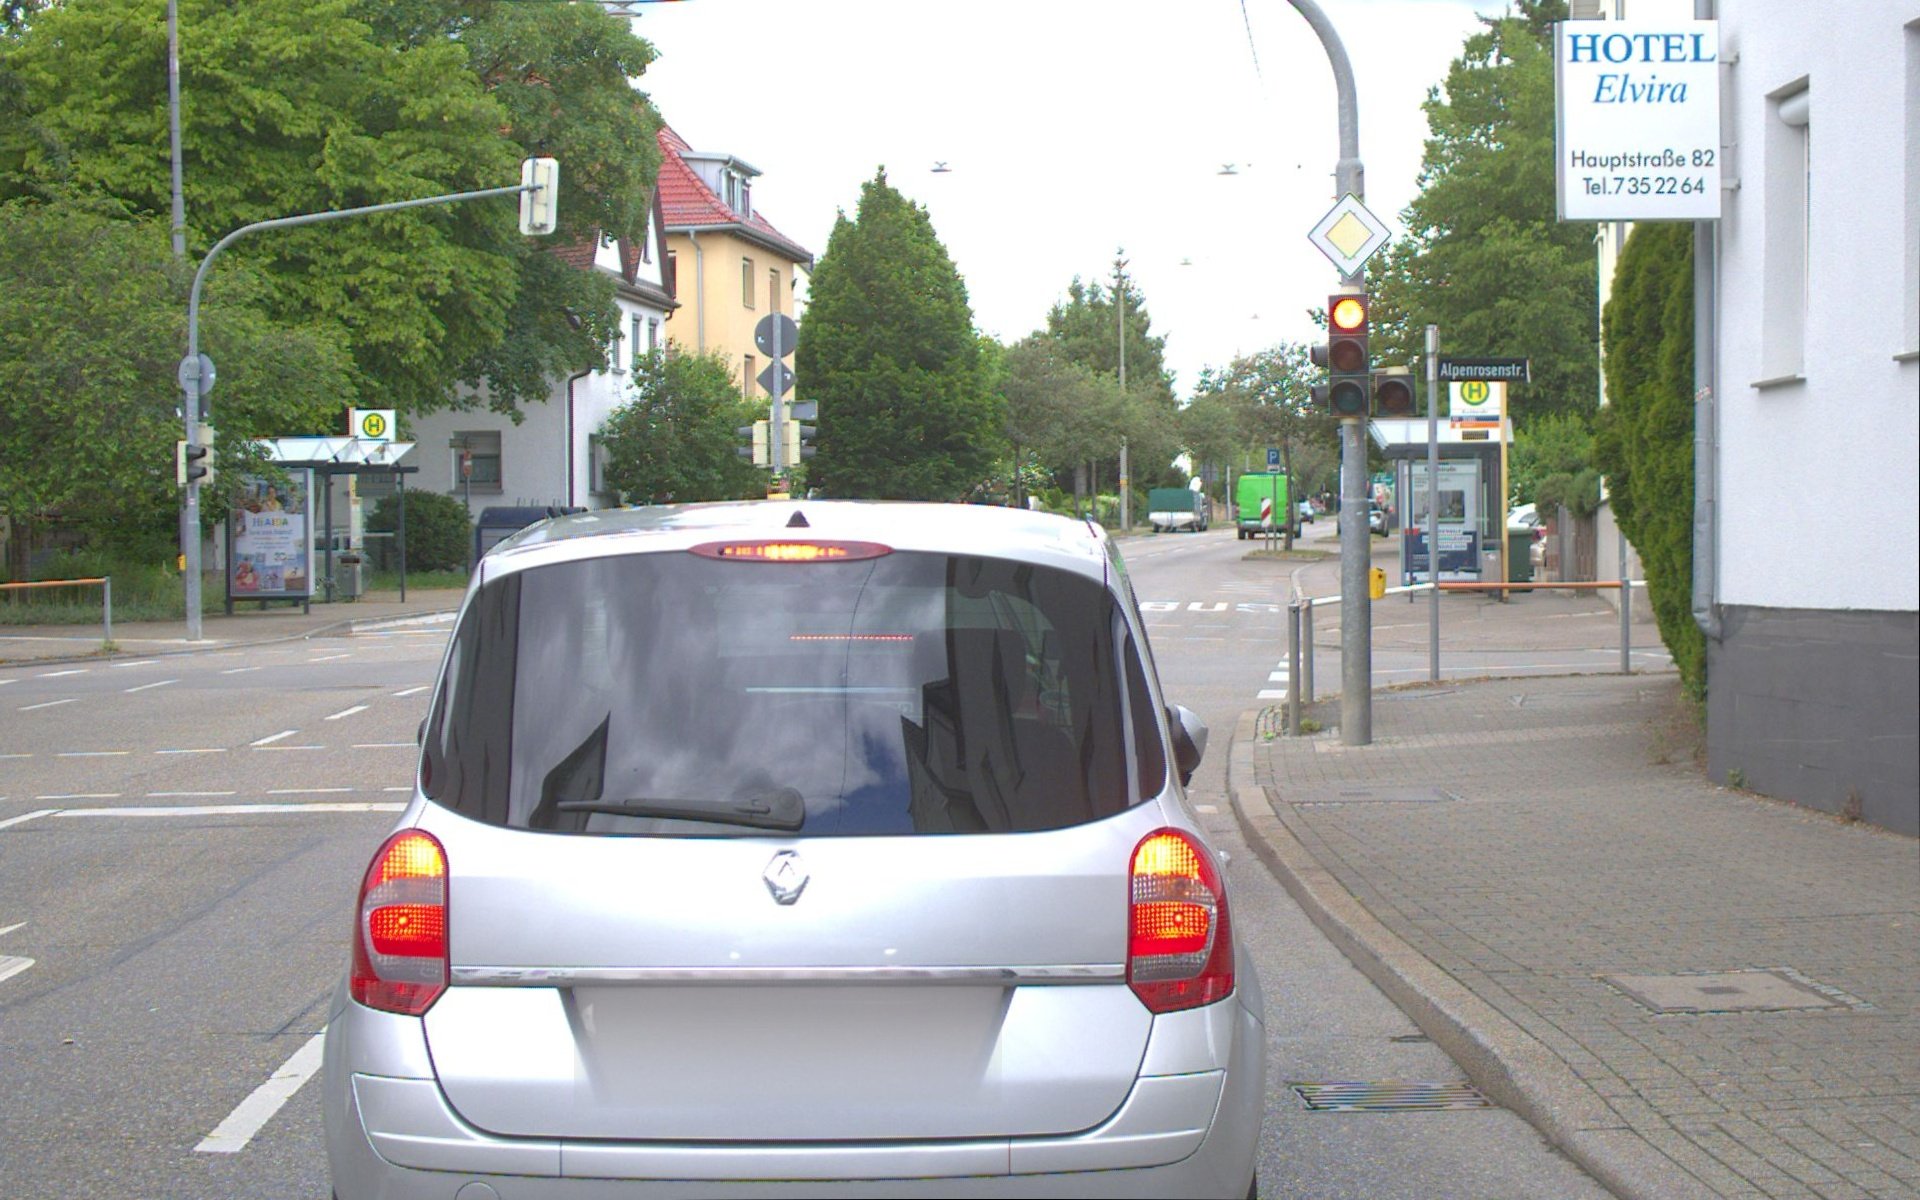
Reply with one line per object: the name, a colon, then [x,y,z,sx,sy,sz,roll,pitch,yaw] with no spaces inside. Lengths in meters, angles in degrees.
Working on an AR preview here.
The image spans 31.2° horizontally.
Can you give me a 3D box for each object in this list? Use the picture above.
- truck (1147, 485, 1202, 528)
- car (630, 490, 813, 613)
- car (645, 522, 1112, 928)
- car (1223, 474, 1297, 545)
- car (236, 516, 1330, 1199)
truck: [10.491,-4.552,167.775,2.102,2.007,5.745,1,1,9]
car: [-3.802,-0.804,55.465,1.927,1.767,3.999,-4,1,10]
car: [-0.342,0.445,14.908,1.755,1.525,3.797,0,1,-1]
car: [10.910,-3.239,124.651,2.060,2.503,5.593,1,1,11]
car: [-0.321,0.602,7.543,1.755,1.525,4.000,0,1,-1]
